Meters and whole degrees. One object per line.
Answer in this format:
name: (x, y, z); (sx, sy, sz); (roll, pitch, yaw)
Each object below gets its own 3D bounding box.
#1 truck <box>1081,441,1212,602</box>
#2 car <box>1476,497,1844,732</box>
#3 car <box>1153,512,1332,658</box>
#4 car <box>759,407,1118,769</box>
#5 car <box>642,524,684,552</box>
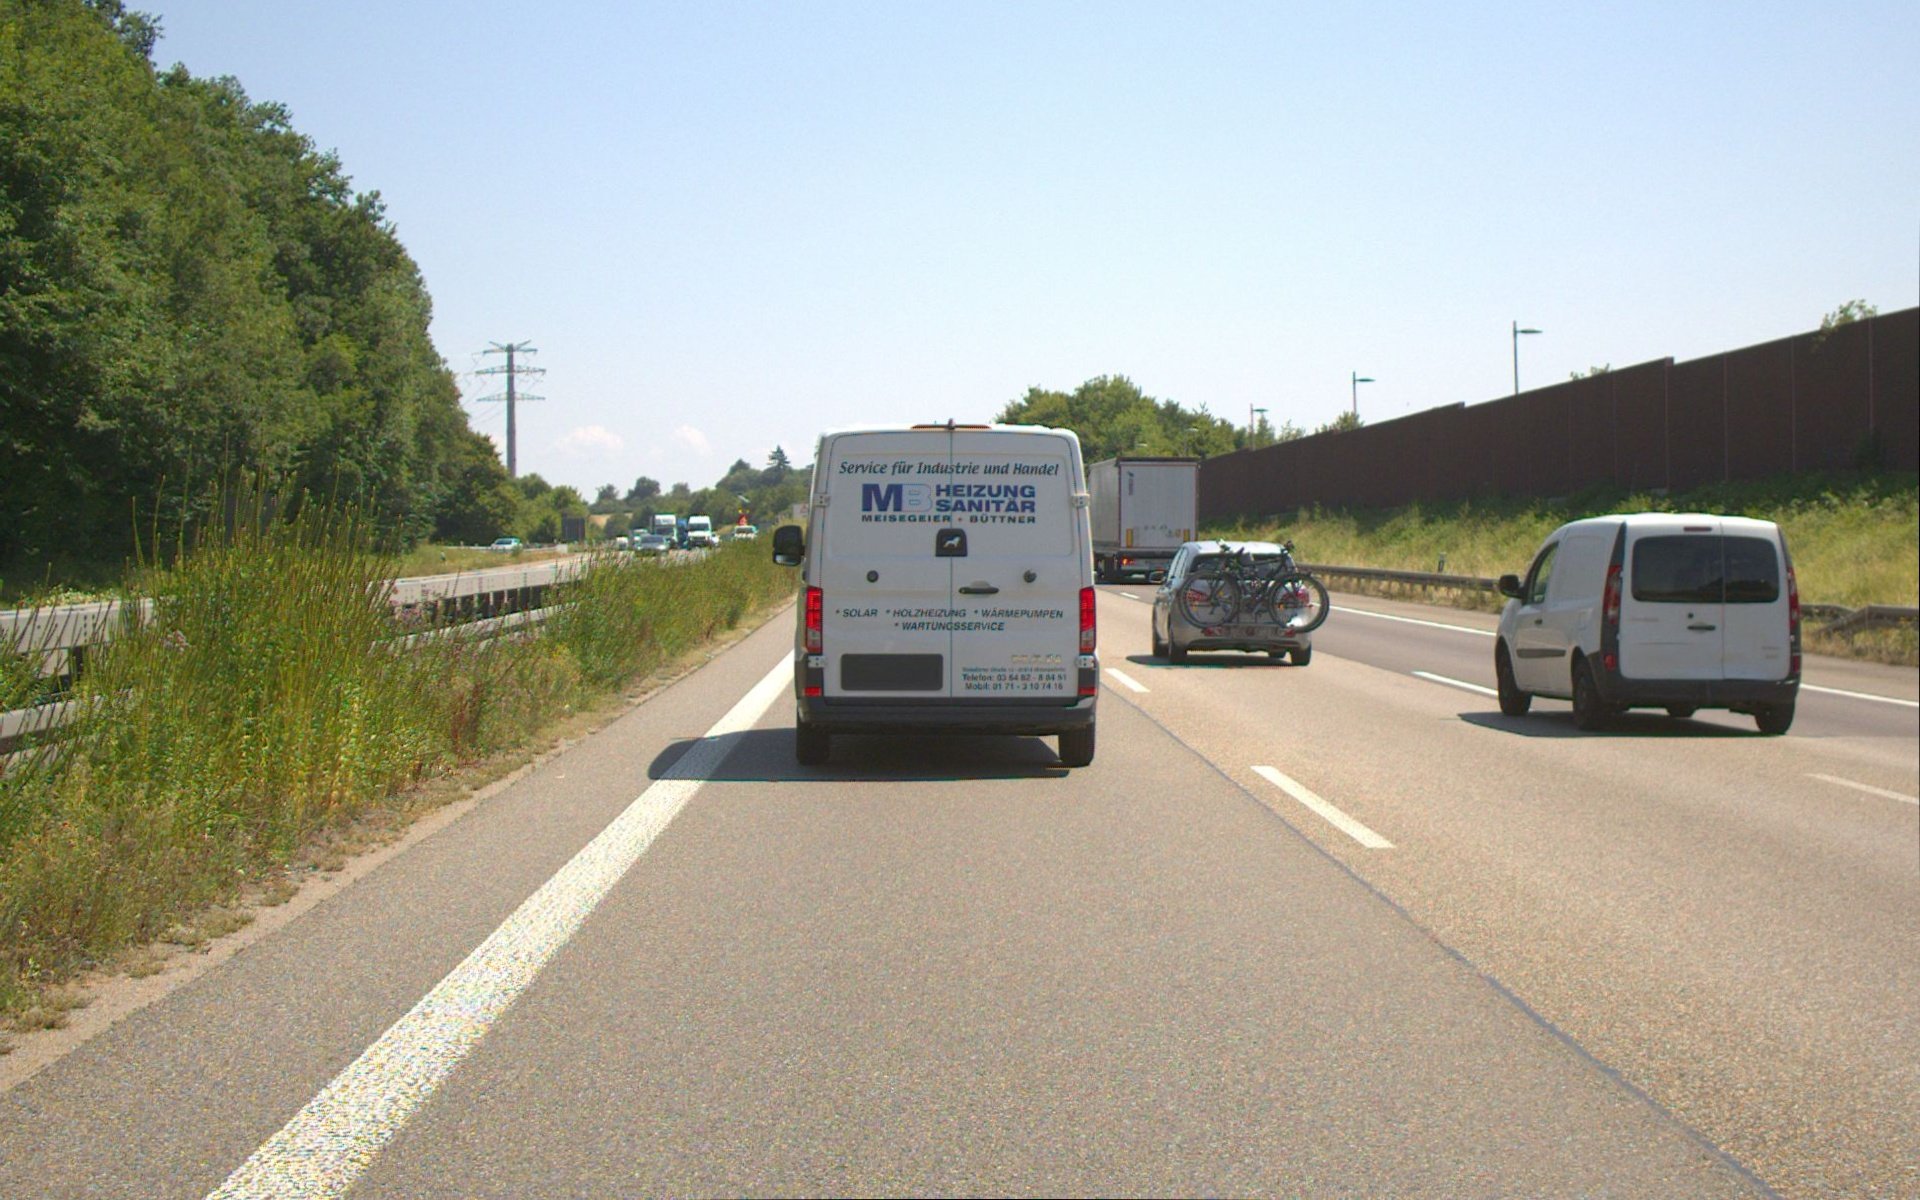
truck: (6.094, -2.522, 114.433); (3.788, 4.982, 12.518); (1, 0, 1)
car: (5.857, 0.096, 29.296); (1.950, 1.831, 4.179); (-1, 0, -5)
car: (3.508, -0.195, 43.316); (1.976, 1.727, 4.088); (-1, 0, 1)
car: (-0.288, -0.099, 24.319); (2.181, 2.246, 5.364); (1, 1, -4)
car: (-16.786, -3.521, 194.444); (1.993, 1.514, 4.722); (-2, 1, -1)
